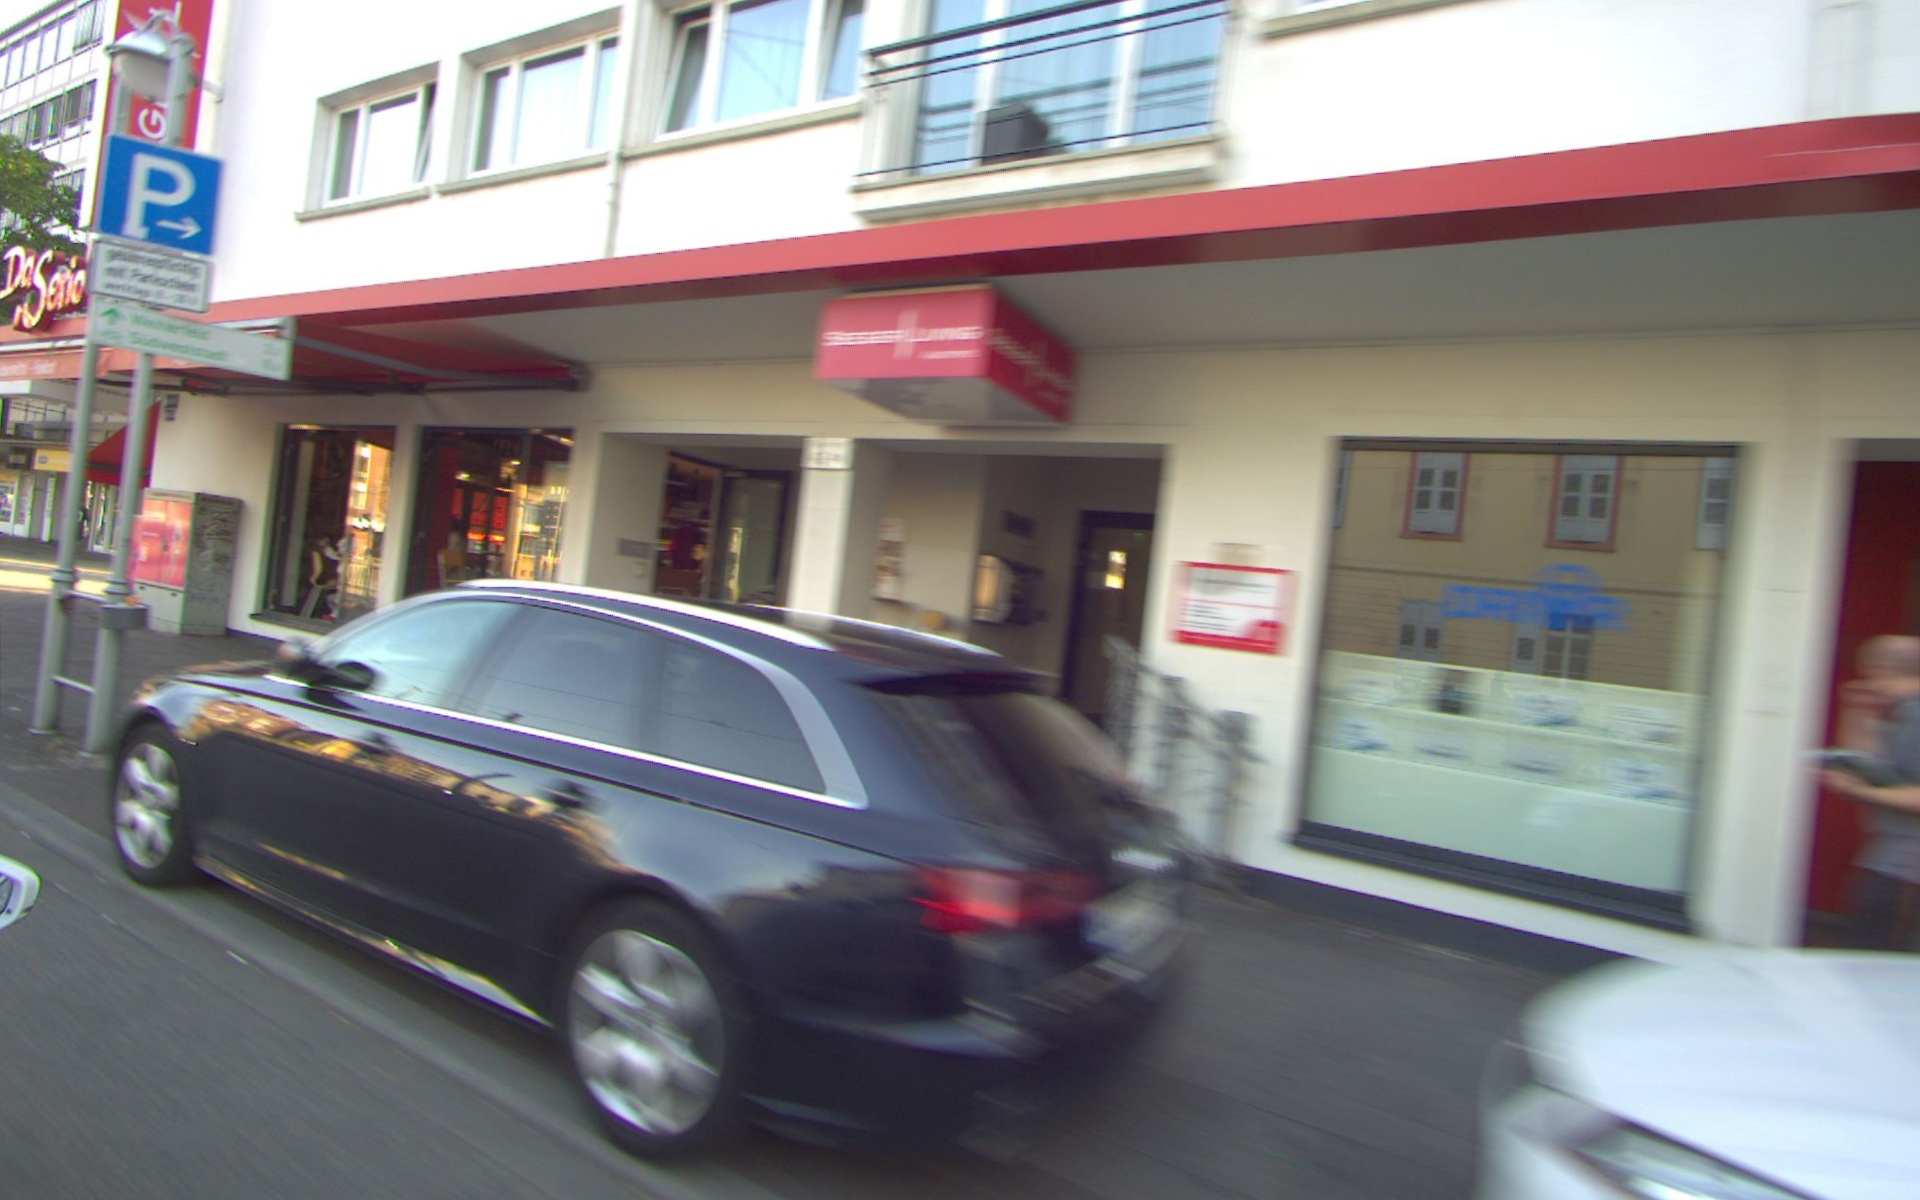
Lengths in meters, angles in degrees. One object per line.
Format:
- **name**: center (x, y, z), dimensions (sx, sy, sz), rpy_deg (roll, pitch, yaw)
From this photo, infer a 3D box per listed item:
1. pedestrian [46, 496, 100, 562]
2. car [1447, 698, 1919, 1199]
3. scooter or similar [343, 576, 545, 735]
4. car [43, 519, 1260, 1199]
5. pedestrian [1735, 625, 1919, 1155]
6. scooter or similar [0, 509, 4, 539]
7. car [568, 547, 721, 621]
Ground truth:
- **pedestrian**: center (-25.044, -1.992, 28.412), dimensions (0.879, 1.702, 0.748), rpy_deg (6, -2, 32)
- **car**: center (3.010, 1.164, 1.372), dimensions (4.121, 1.436, 1.656), rpy_deg (6, -3, 31)
- **scooter or similar**: center (-4.455, 0.487, 8.755), dimensions (1.417, 1.208, 0.334), rpy_deg (7, 0, -16)
- **car**: center (-1.434, 0.671, 3.953), dimensions (4.608, 1.428, 1.795), rpy_deg (6, -3, 30)
- **pedestrian**: center (3.827, 1.113, 3.982), dimensions (0.918, 1.903, 0.776), rpy_deg (6, 0, 29)
- **scooter or similar**: center (-27.078, -1.963, 27.540), dimensions (1.201, 1.231, 0.294), rpy_deg (6, -2, -14)
- **car**: center (-10.647, -0.533, 34.106), dimensions (4.403, 1.772, 1.900), rpy_deg (9, 0, -37)
